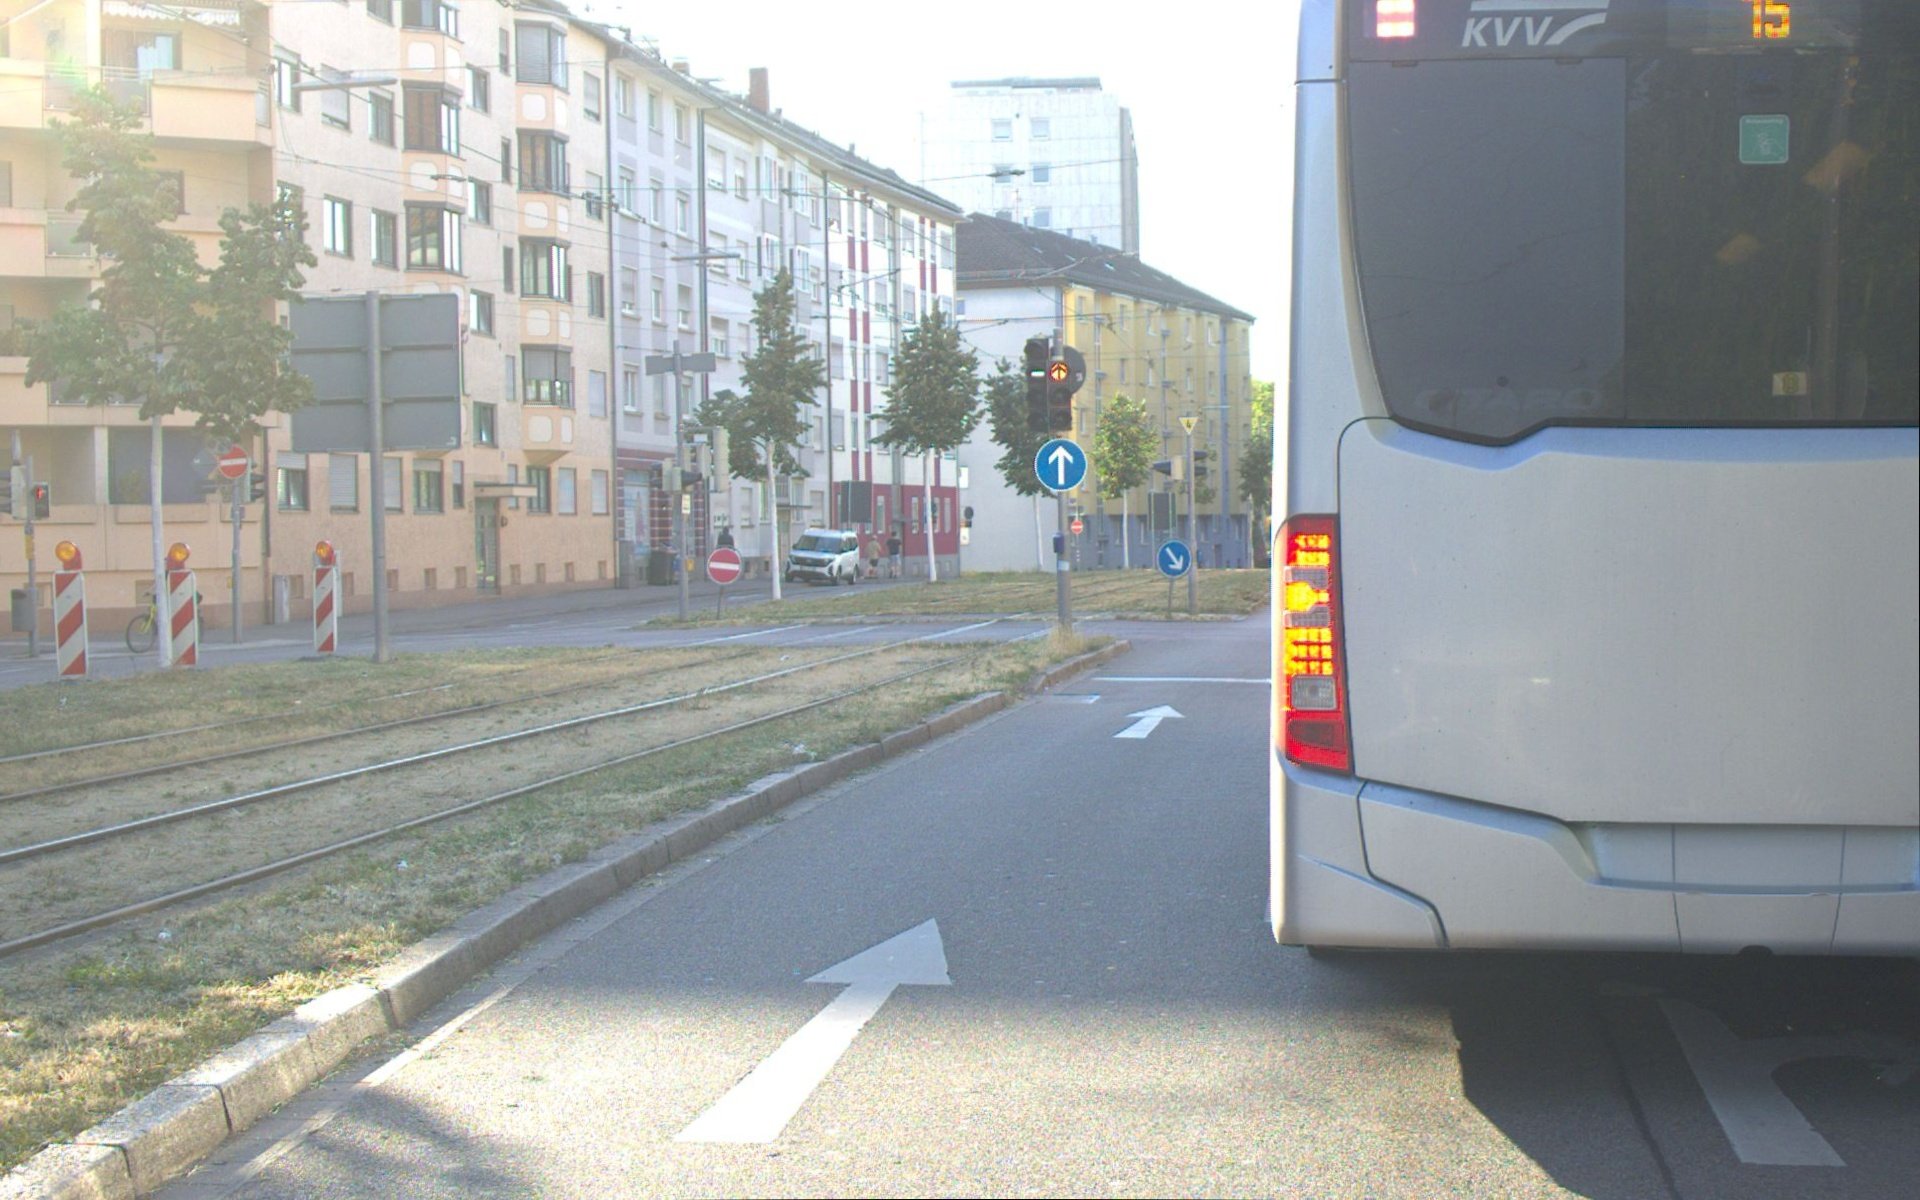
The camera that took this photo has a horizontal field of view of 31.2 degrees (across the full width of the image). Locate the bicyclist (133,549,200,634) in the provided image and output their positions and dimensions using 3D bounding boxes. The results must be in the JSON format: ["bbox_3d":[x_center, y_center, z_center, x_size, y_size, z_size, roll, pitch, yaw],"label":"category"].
[{"bbox_3d":[-13.638,-0.151,59.090,0.529,1.442,0.963,-1,1,38],"label":"bicyclist"}]

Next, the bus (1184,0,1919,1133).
[{"bbox_3d":[2.495,-0.293,12.980,2.739,3.045,8.851,1,1,7],"label":"bus"}]

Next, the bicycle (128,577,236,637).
[{"bbox_3d":[-13.412,0.107,59.319,0.529,0.980,1.879,-1,1,38],"label":"bicycle"}]

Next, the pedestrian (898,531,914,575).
[{"bbox_3d":[-2.025,-1.773,129.026,0.495,1.652,0.408,-1,1,8],"label":"pedestrian"}]

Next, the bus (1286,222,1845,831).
[{"bbox_3d":[3.603,-0.476,21.867,2.739,3.045,9.129,1,1,7],"label":"bus"}]

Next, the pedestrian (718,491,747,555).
[{"bbox_3d":[-7.192,-2.445,108.701,0.786,2.007,0.891,-1,1,4],"label":"pedestrian"}]

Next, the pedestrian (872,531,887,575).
[{"bbox_3d":[-3.020,-1.773,128.833,0.495,1.652,0.408,-1,1,8],"label":"pedestrian"}]

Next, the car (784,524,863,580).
[{"bbox_3d":[-4.545,-1.625,115.091,1.812,1.791,4.244,-1,1,9],"label":"car"}]
